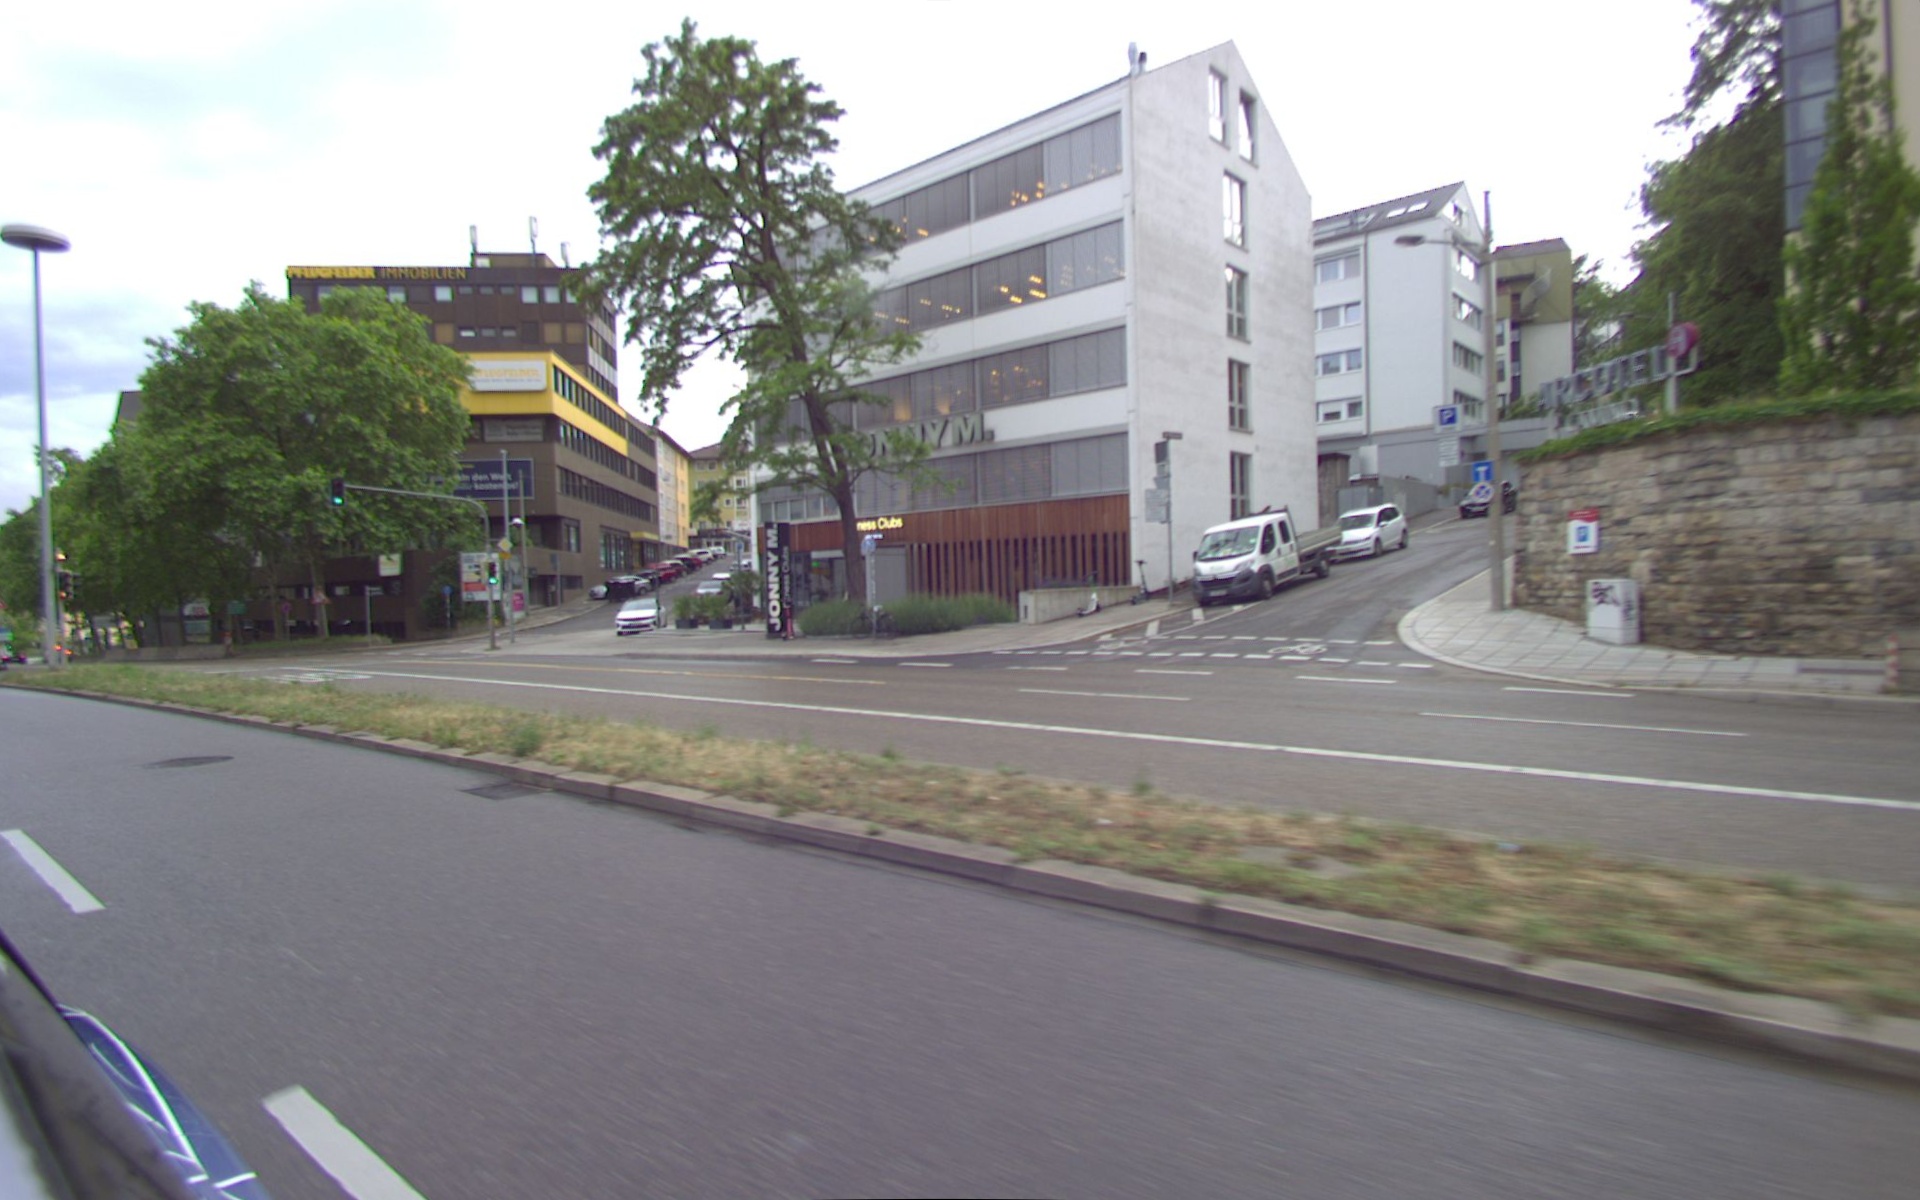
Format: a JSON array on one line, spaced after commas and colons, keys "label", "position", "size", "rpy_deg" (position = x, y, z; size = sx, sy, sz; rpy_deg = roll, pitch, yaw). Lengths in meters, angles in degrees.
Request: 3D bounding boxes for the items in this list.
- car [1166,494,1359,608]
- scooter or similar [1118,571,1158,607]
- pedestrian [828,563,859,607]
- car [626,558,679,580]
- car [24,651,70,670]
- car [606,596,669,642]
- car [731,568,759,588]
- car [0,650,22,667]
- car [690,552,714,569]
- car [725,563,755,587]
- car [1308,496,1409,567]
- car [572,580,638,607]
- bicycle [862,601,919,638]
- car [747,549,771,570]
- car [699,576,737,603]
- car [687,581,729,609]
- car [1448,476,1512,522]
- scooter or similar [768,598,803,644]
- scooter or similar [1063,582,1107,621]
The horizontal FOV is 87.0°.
[{"label": "car", "position": [8.957, -1.523, 29.407], "size": [2.513, 2.291, 6.835], "rpy_deg": [-7, 4, 42]}, {"label": "scooter or similar", "position": [5.332, -0.340, 30.242], "size": [0.443, 0.928, 1.455], "rpy_deg": [-3, 4, 39]}, {"label": "pedestrian", "position": [-4.438, -0.571, 38.668], "size": [0.841, 1.653, 0.760], "rpy_deg": [-3, -2, 41]}, {"label": "car", "position": [-25.633, -2.612, 84.419], "size": [3.938, 1.696, 1.823], "rpy_deg": [-2, 4, -6]}, {"label": "car", "position": [-79.530, 5.267, 88.150], "size": [4.871, 1.458, 1.976], "rpy_deg": [-3, -2, 36]}, {"label": "car", "position": [-14.012, 0.765, 44.225], "size": [1.968, 1.665, 4.855], "rpy_deg": [-4, 2, -10]}, {"label": "car", "position": [-18.582, -1.918, 87.665], "size": [1.969, 1.586, 4.496], "rpy_deg": [-4, 2, -8]}, {"label": "car", "position": [-90.041, 5.560, 95.447], "size": [4.165, 1.530, 1.737], "rpy_deg": [-4, -2, 38]}, {"label": "car", "position": [-27.477, -4.246, 107.854], "size": [1.792, 1.696, 4.007], "rpy_deg": [-2, 4, -6]}, {"label": "car", "position": [-17.744, -2.039, 81.724], "size": [1.968, 1.586, 4.497], "rpy_deg": [-2, 5, -8]}, {"label": "car", "position": [13.913, -2.398, 35.222], "size": [1.999, 1.793, 3.952], "rpy_deg": [-1, 11, 41]}, {"label": "car", "position": [-24.610, -0.430, 70.211], "size": [3.938, 1.696, 1.823], "rpy_deg": [-2, 0, -6]}, {"label": "bicycle", "position": [-1.979, 0.566, 28.597], "size": [1.758, 0.999, 0.452], "rpy_deg": [-2, 0, 42]}, {"label": "car", "position": [-20.290, -4.104, 102.117], "size": [1.969, 2.028, 4.007], "rpy_deg": [-2, 4, -6]}, {"label": "car", "position": [-16.175, -0.733, 67.874], "size": [1.969, 1.586, 4.496], "rpy_deg": [-4, 2, -8]}, {"label": "car", "position": [-15.458, -0.322, 62.217], "size": [1.969, 1.476, 4.496], "rpy_deg": [-4, 2, -8]}, {"label": "car", "position": [24.107, -4.712, 46.848], "size": [1.811, 1.695, 3.766], "rpy_deg": [-3, 6, 39]}, {"label": "scooter or similar", "position": [-5.350, 0.626, 31.076], "size": [0.366, 1.256, 1.750], "rpy_deg": [-2, 3, 12]}, {"label": "scooter or similar", "position": [3.535, 0.036, 28.501], "size": [0.443, 0.928, 1.455], "rpy_deg": [-3, 4, 39]}]
